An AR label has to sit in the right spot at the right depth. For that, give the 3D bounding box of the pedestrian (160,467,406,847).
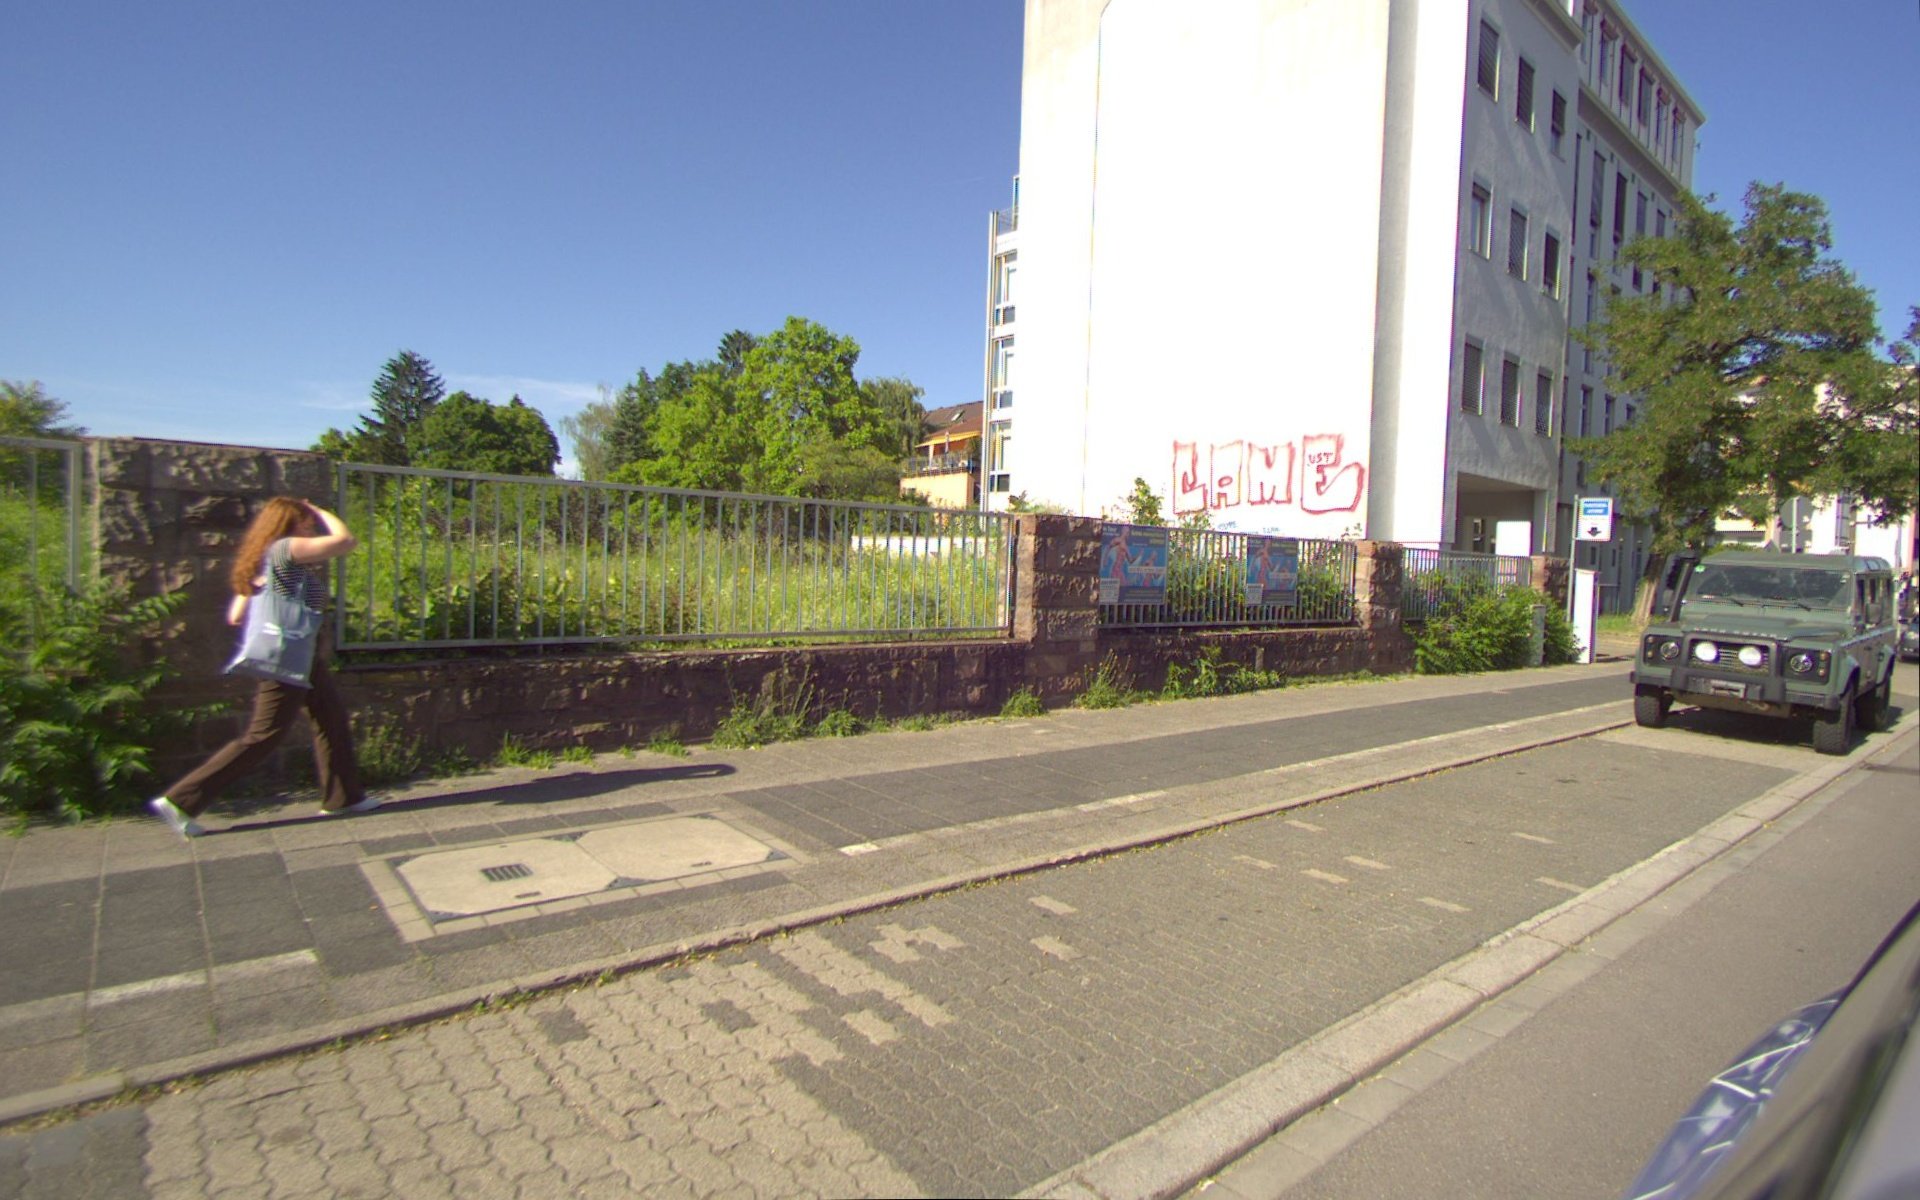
[{"bbox_3d":[-3.230,0.220,4.826,0.881,1.602,0.745,0,3,-40],"label":"pedestrian"}]

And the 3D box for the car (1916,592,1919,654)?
[{"bbox_3d":[24.826,0.650,24.689,4.080,1.466,1.642,2,1,-39],"label":"car"}]

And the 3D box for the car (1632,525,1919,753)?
[{"bbox_3d":[9.263,0.290,11.271,4.692,2.038,1.664,-1,4,-41],"label":"car"}]
